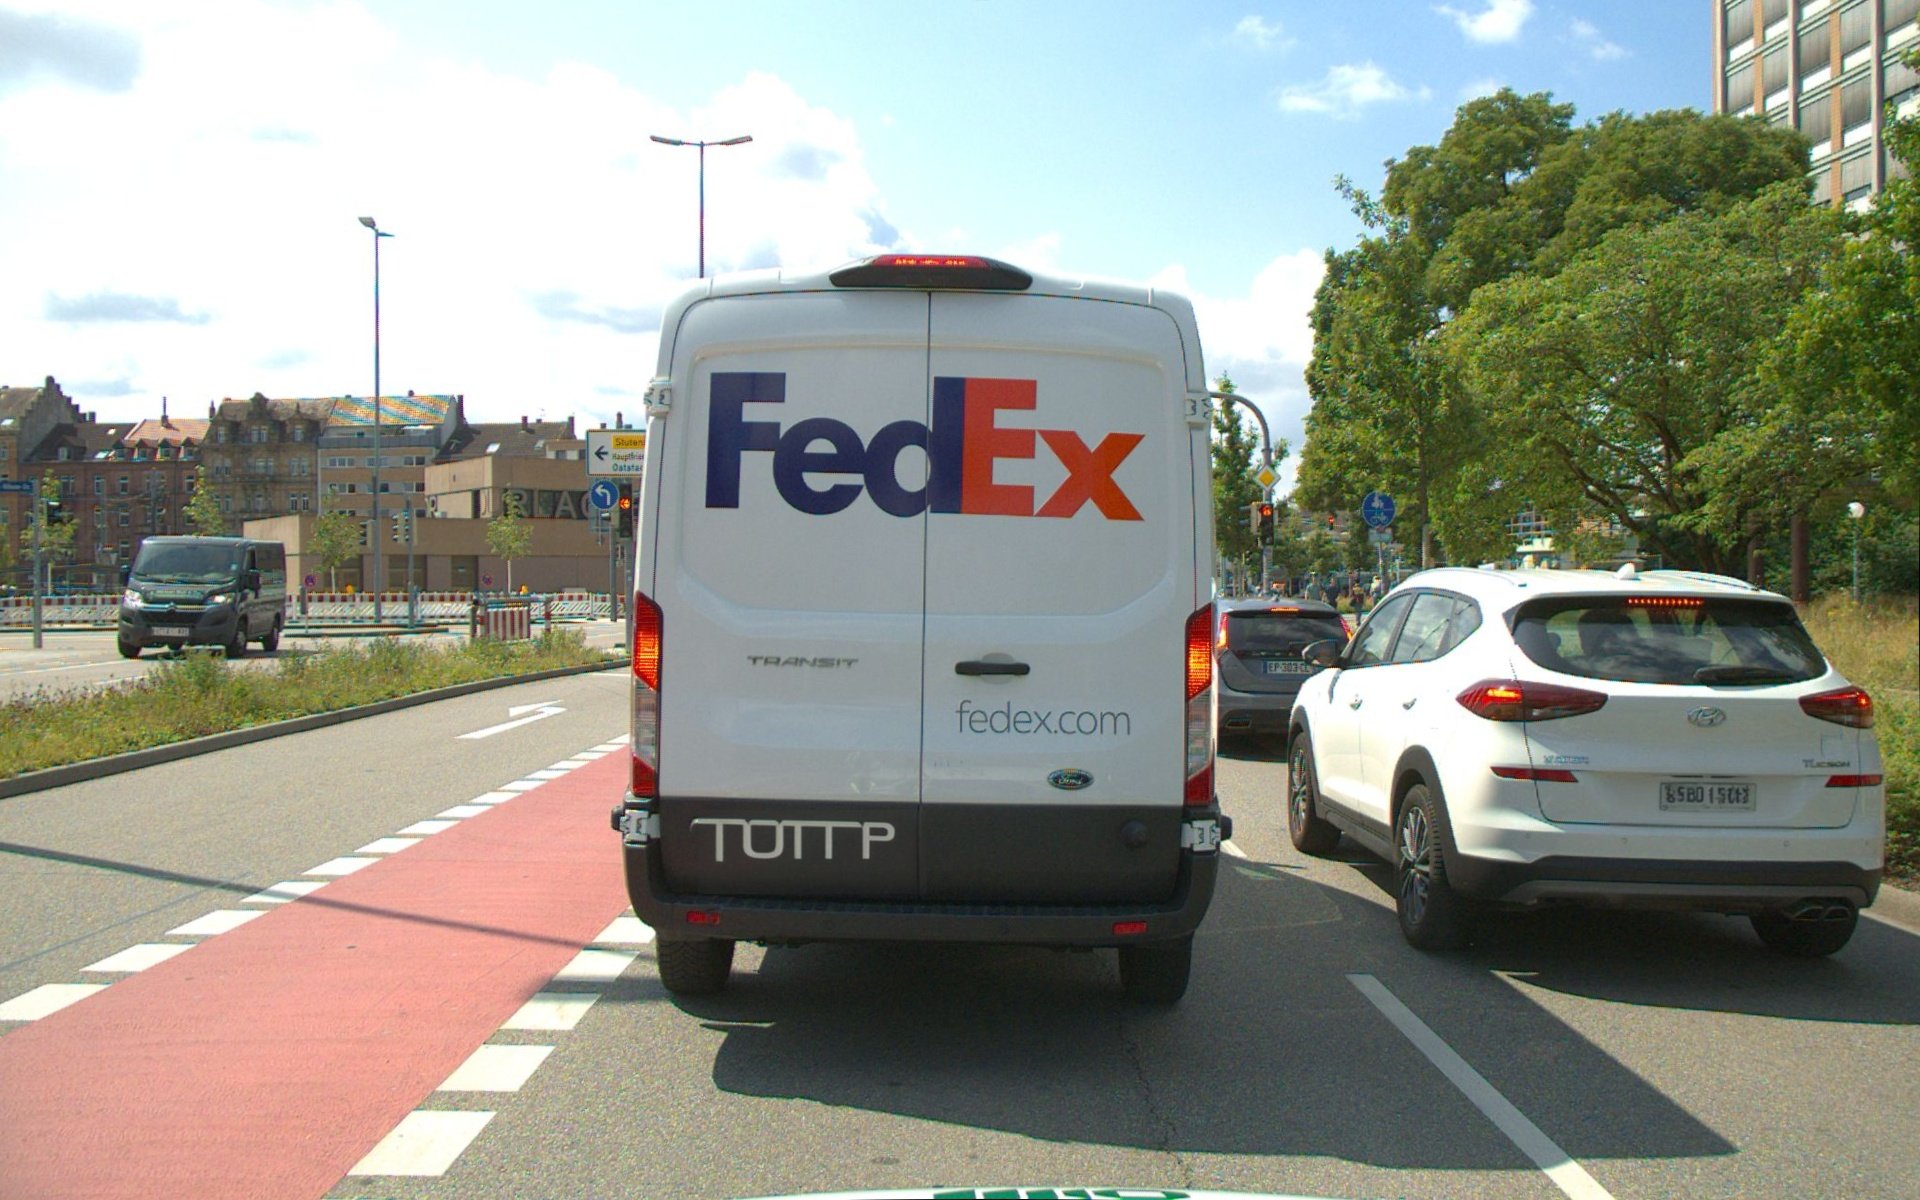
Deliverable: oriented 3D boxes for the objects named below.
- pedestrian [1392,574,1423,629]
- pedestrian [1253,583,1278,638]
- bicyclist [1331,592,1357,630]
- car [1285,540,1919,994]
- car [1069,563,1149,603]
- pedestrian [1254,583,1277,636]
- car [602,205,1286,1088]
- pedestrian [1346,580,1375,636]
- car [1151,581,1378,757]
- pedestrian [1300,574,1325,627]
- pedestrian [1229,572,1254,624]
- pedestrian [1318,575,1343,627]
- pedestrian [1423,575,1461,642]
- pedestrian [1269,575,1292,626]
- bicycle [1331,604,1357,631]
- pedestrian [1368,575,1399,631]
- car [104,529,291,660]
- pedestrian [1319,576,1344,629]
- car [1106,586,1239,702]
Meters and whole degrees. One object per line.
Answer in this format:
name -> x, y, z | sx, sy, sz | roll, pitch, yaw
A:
pedestrian -> 15.288, 0.045, 56.522 | 0.745, 1.882, 0.814 | 0, 0, -9
pedestrian -> 10.491, 0.361, 56.843 | 0.743, 1.882, 0.816 | 0, 0, 18
bicyclist -> 22.576, 0.634, 97.219 | 1.402, 2.209, 1.340 | 0, 0, 14
car -> 2.876, 0.609, 8.243 | 1.777, 1.708, 3.974 | 0, 1, 1
car -> 10.976, -1.187, 121.225 | 2.448, 2.765, 7.052 | 1, 0, 38
pedestrian -> 10.929, 0.341, 59.205 | 0.742, 1.882, 0.817 | 0, 0, 14
car -> -0.018, 0.115, 7.159 | 2.030, 2.626, 4.428 | 0, 1, 1
pedestrian -> 13.537, 0.262, 55.887 | 0.744, 1.882, 0.815 | -1, 0, -4
car -> 2.955, 0.602, 16.753 | 1.656, 1.576, 3.721 | 0, 1, 1
pedestrian -> 12.601, 0.015, 59.168 | 0.743, 1.882, 0.816 | 0, 0, 1
pedestrian -> 10.213, -0.074, 60.083 | 0.796, 1.882, 0.761 | 0, 0, 2
pedestrian -> 13.434, 0.040, 59.982 | 0.743, 1.882, 0.816 | 0, 0, 3
pedestrian -> 12.189, 0.214, 41.861 | 0.743, 1.684, 0.816 | 0, 0, 3
pedestrian -> 11.994, 0.024, 61.951 | 0.742, 1.882, 0.817 | 0, 0, 5
bicycle -> 22.558, 1.014, 97.173 | 1.395, 1.489, 4.314 | 0, 1, 14
pedestrian -> 14.412, 0.091, 56.328 | 0.745, 1.882, 0.814 | -1, 0, -11
car -> -14.339, -0.112, 31.439 | 2.111, 2.213, 5.003 | -2, 1, -12
pedestrian -> 12.819, 0.072, 57.080 | 0.742, 1.820, 0.817 | 0, 0, 7
car -> 2.940, 0.561, 23.380 | 1.468, 1.489, 3.474 | 0, 1, 1
